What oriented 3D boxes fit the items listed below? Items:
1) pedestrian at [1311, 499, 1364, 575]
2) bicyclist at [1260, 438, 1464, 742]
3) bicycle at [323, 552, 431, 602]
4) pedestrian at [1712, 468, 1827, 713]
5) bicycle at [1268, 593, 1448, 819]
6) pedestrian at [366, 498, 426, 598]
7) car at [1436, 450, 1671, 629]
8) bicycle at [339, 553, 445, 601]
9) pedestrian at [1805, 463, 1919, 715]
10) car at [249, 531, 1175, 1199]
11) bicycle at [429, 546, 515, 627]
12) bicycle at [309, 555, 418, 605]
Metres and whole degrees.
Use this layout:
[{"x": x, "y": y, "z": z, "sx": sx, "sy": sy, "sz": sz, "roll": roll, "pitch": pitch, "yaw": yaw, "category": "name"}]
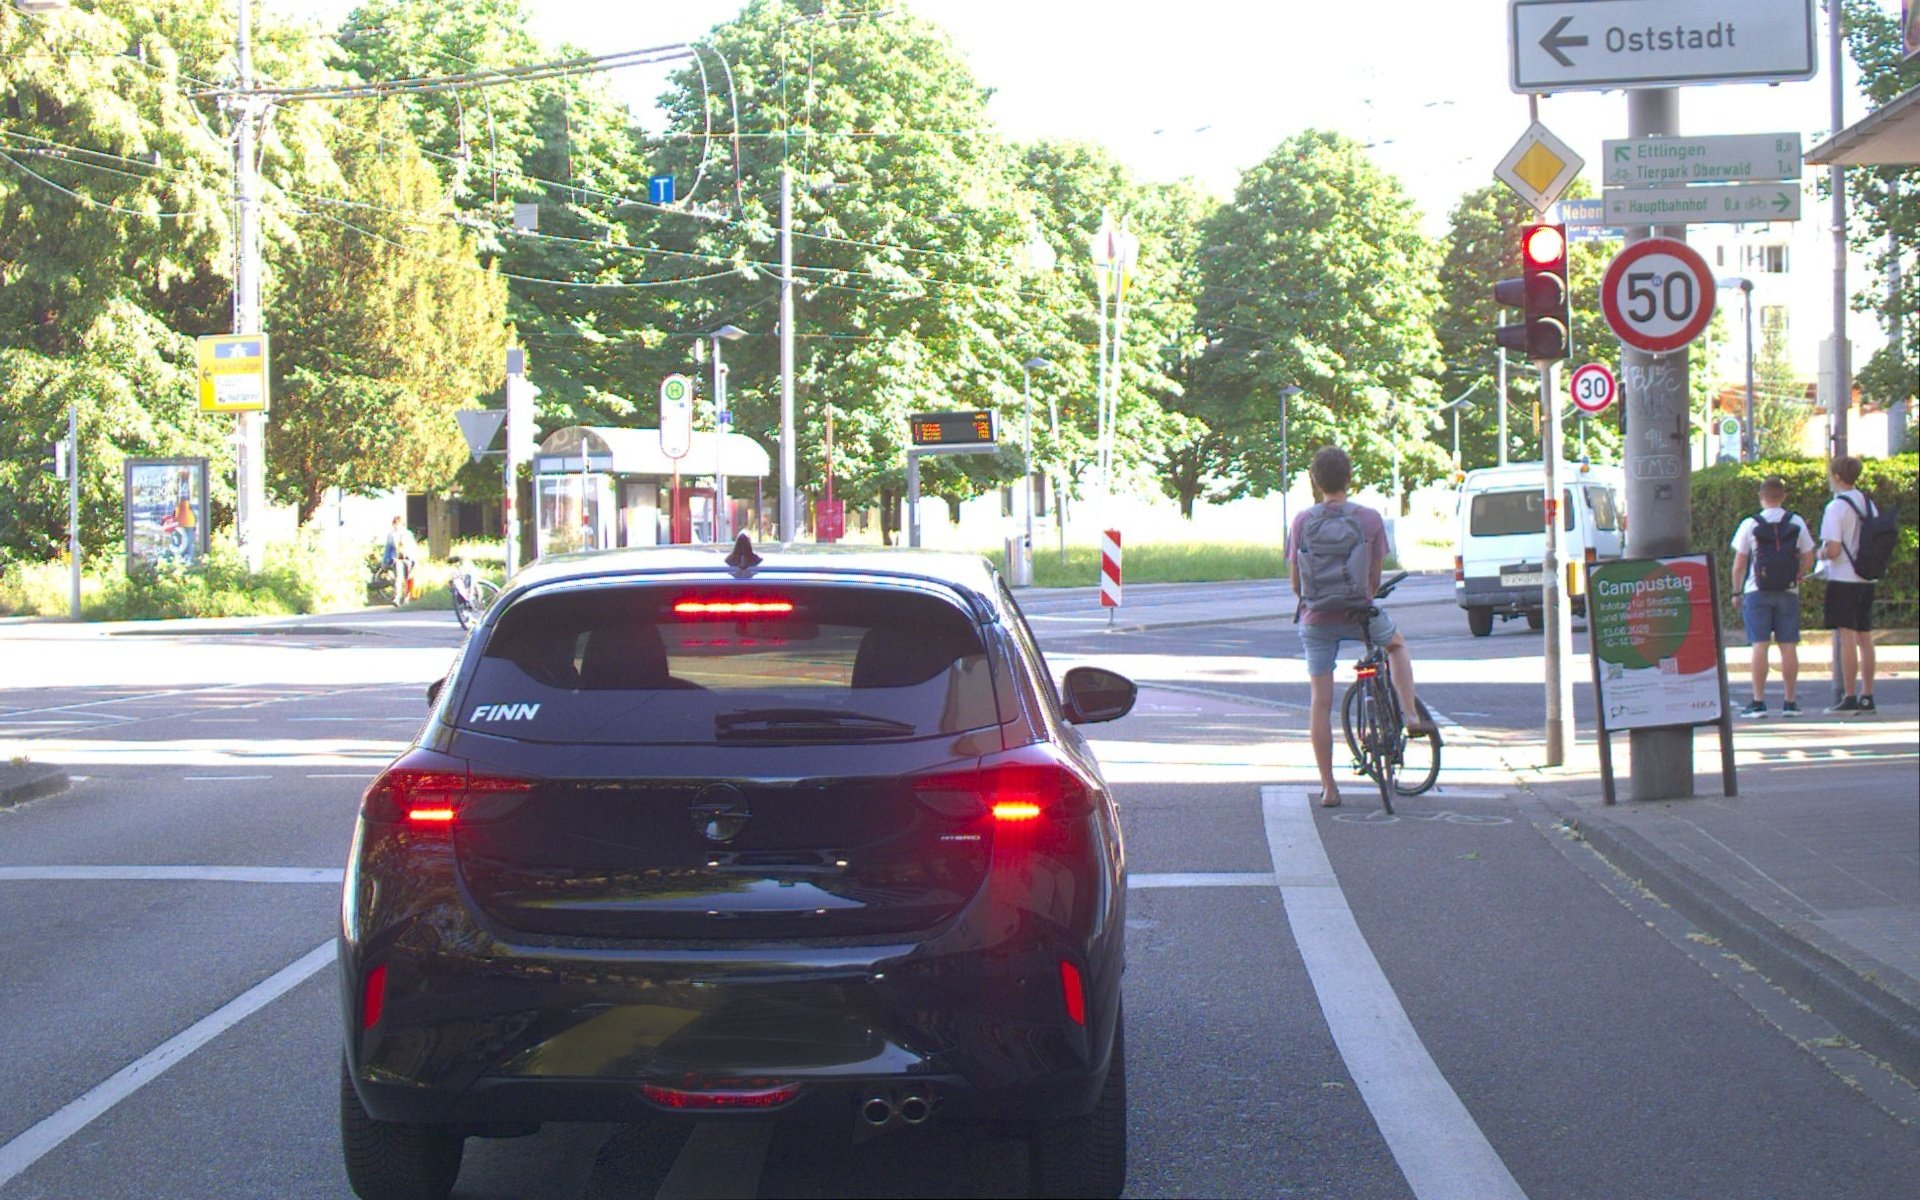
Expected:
[{"x": 8.945, "y": -1.504, "z": 81.493, "sx": 0.959, "sy": 1.786, "sz": 0.994, "roll": 0, "pitch": 1, "yaw": 25, "category": "pedestrian"}, {"x": 2.060, "y": -0.066, "z": 17.799, "sx": 0.840, "sy": 1.504, "sz": 1.369, "roll": 0, "pitch": 1, "yaw": -2, "category": "bicyclist"}, {"x": -10.986, "y": -0.435, "z": 64.812, "sx": 1.877, "sy": 0.903, "sz": 0.659, "roll": 0, "pitch": 1, "yaw": 7, "category": "bicycle"}, {"x": 6.002, "y": -0.076, "z": 25.520, "sx": 0.698, "sy": 1.786, "sz": 0.617, "roll": -1, "pitch": 1, "yaw": -1, "category": "pedestrian"}, {"x": 2.044, "y": 0.518, "z": 17.877, "sx": 0.667, "sy": 1.056, "sz": 2.082, "roll": 0, "pitch": 1, "yaw": -1, "category": "bicycle"}, {"x": -9.571, "y": -0.880, "z": 58.313, "sx": 0.726, "sy": 1.687, "sz": 0.700, "roll": 0, "pitch": 1, "yaw": 22, "category": "pedestrian"}, {"x": 8.001, "y": -0.790, "z": 46.009, "sx": 2.092, "sy": 2.270, "sz": 4.301, "roll": 1, "pitch": 1, "yaw": 24, "category": "car"}, {"x": -10.847, "y": -0.442, "z": 65.683, "sx": 1.877, "sy": 0.903, "sz": 0.659, "roll": 0, "pitch": 1, "yaw": 7, "category": "bicycle"}, {"x": 6.771, "y": -0.093, "z": 25.568, "sx": 0.704, "sy": 1.840, "sz": 0.699, "roll": 0, "pitch": 2, "yaw": 39, "category": "pedestrian"}, {"x": -0.453, "y": 0.563, "z": 8.697, "sx": 1.800, "sy": 1.436, "sz": 3.940, "roll": -1, "pitch": 1, "yaw": 1, "category": "car"}, {"x": -6.608, "y": -0.190, "z": 46.620, "sx": 0.825, "sy": 1.056, "sz": 1.883, "roll": 0, "pitch": 1, "yaw": 2, "category": "bicycle"}, {"x": -11.070, "y": -0.366, "z": 63.828, "sx": 1.877, "sy": 0.903, "sz": 0.659, "roll": 0, "pitch": 1, "yaw": 7, "category": "bicycle"}]
